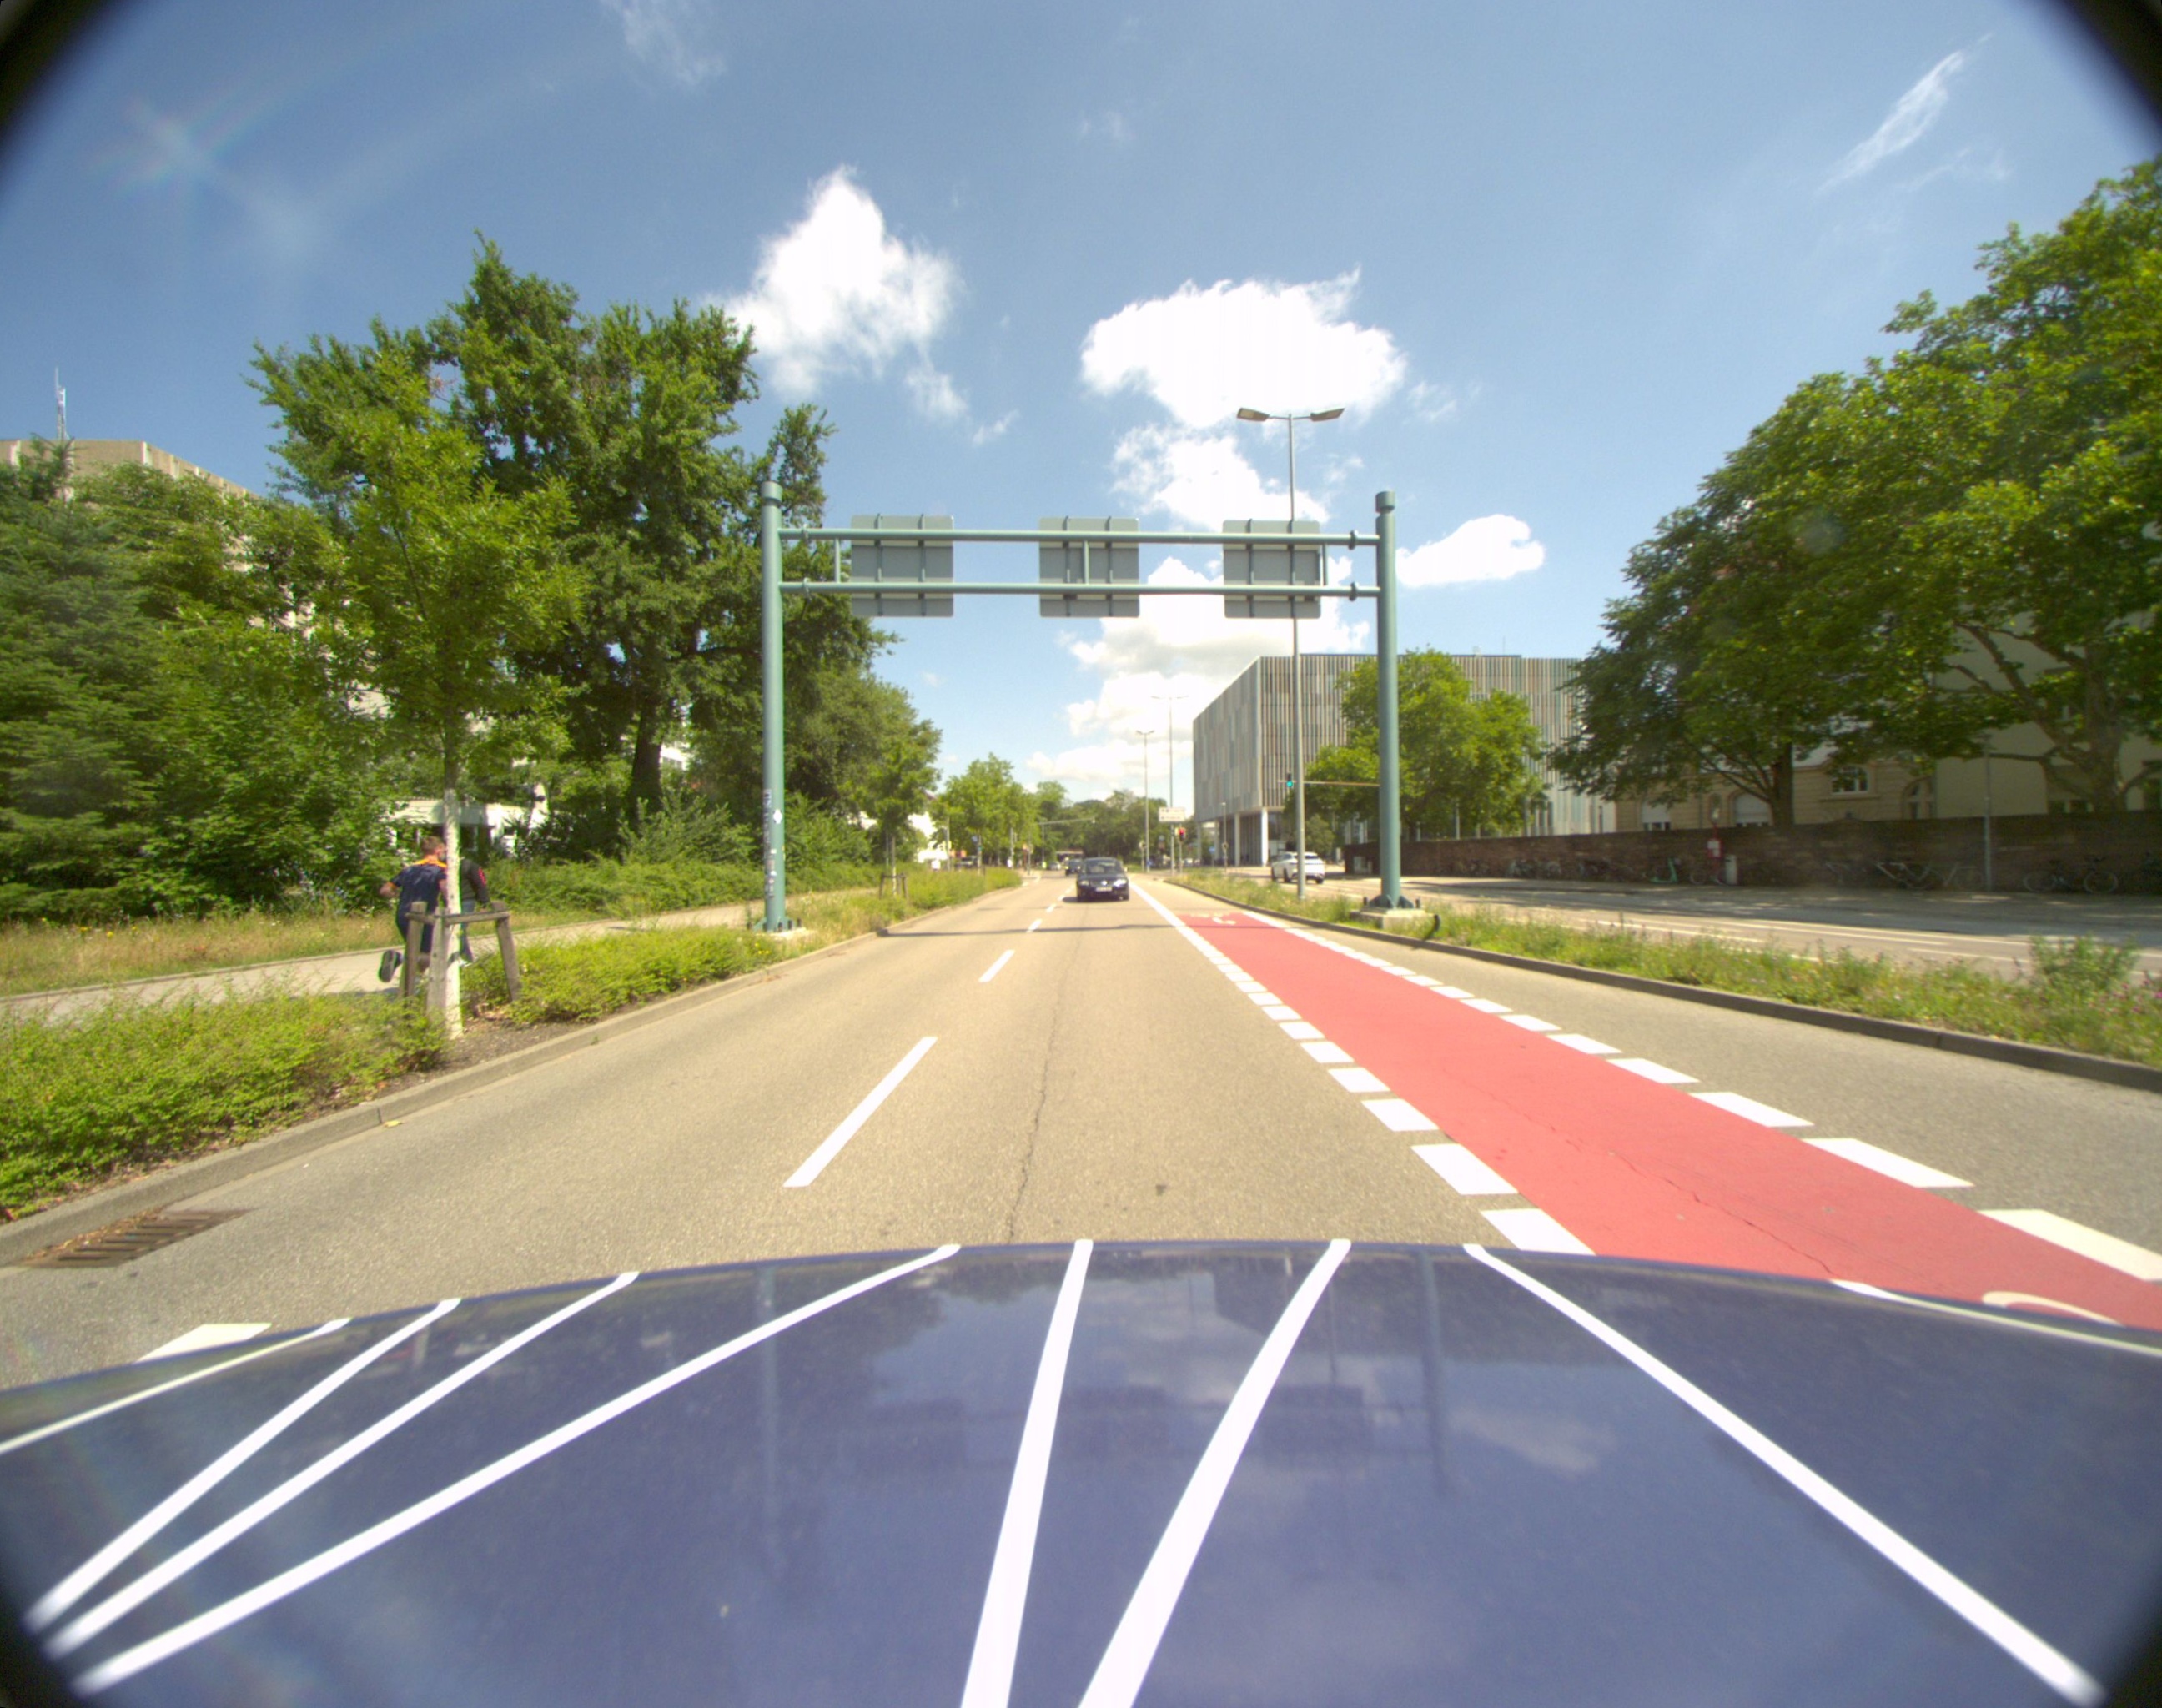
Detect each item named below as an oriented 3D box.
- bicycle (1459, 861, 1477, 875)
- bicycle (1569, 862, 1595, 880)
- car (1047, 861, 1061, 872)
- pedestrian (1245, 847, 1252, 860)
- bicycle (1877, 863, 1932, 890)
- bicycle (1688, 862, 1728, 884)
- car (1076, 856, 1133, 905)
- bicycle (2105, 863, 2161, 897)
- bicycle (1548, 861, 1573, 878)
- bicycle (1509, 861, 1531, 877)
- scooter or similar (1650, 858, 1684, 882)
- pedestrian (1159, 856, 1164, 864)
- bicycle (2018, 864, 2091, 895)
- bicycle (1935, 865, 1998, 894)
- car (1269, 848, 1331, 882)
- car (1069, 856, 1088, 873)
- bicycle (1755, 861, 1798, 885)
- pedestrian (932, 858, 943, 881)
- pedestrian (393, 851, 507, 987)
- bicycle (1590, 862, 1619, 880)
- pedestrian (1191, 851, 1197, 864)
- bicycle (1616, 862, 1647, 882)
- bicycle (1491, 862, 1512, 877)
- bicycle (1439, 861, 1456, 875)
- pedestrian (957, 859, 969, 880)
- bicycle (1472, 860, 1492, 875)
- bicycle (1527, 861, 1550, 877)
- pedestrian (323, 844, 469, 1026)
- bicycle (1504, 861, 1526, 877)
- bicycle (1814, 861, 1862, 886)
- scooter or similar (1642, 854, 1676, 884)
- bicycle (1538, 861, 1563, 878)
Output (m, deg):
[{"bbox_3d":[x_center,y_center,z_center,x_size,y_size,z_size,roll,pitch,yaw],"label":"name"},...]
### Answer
[{"bbox_3d":[22.798,0.830,44.758,0.265,0.826,1.235,-1,0,-11],"label":"bicycle"},{"bbox_3d":[23.856,0.793,36.203,0.265,0.826,1.235,-1,0,-11],"label":"bicycle"},{"bbox_3d":[-4.329,1.973,122.138,1.816,1.598,4.479,-3,0,1],"label":"car"},{"bbox_3d":[26.610,-0.041,120.802,0.864,2.002,0.995,-1,0,0],"label":"pedestrian"},{"bbox_3d":[26.009,0.692,24.022,0.265,0.826,1.235,-1,0,-11],"label":"bicycle"},{"bbox_3d":[24.817,0.752,30.085,0.265,0.826,1.233,-1,0,-21],"label":"bicycle"},{"bbox_3d":[0.771,0.855,26.247,1.723,1.472,4.594,-3,0,1],"label":"car"},{"bbox_3d":[27.126,0.653,19.351,0.265,0.826,1.234,-1,0,-13],"label":"bicycle"},{"bbox_3d":[23.658,0.762,37.496,0.265,0.826,1.235,-1,0,-11],"label":"bicycle"},{"bbox_3d":[23.358,0.804,40.413,0.265,0.826,1.234,-1,0,-11],"label":"bicycle"},{"bbox_3d":[24.573,0.662,31.855,0.266,1.014,1.140,-1,0,-22],"label":"scooter or similar"},{"bbox_3d":[16.011,1.168,151.332,0.864,1.647,0.995,-1,0,-1],"label":"pedestrian"},{"bbox_3d":[26.575,0.681,20.757,0.265,0.826,1.234,-1,0,-13],"label":"bicycle"},{"bbox_3d":[26.241,0.733,22.534,0.265,0.826,1.235,-1,0,-11],"label":"bicycle"},{"bbox_3d":[11.581,0.561,40.508,1.999,1.701,4.512,-1,0,-1],"label":"car"},{"bbox_3d":[-0.229,1.017,75.689,1.816,1.598,4.479,-3,0,1],"label":"car"},{"bbox_3d":[25.187,0.681,27.525,0.265,0.826,1.235,-1,0,-11],"label":"bicycle"},{"bbox_3d":[-12.591,1.342,66.778,0.846,2.026,0.900,-1,0,-18],"label":"pedestrian"},{"bbox_3d":[-8.166,0.811,9.856,0.760,1.674,0.817,-1,0,12],"label":"pedestrian"},{"bbox_3d":[24.059,0.776,34.932,0.265,0.826,1.235,-1,0,-11],"label":"bicycle"},{"bbox_3d":[17.436,0.543,117.176,0.864,2.002,0.995,-1,0,-1],"label":"pedestrian"},{"bbox_3d":[24.150,0.784,33.356,0.265,0.826,1.235,-1,0,-11],"label":"bicycle"},{"bbox_3d":[23.152,0.832,41.808,0.265,0.826,1.234,-1,0,-11],"label":"bicycle"},{"bbox_3d":[22.489,0.858,46.654,0.265,0.826,1.235,-1,0,-11],"label":"bicycle"},{"bbox_3d":[-9.129,1.164,58.811,0.767,1.601,0.765,-1,0,-4],"label":"pedestrian"},{"bbox_3d":[22.931,0.767,43.436,0.265,0.826,1.234,-1,0,-11],"label":"bicycle"},{"bbox_3d":[23.475,0.768,39.004,0.265,0.826,1.235,-1,0,-11],"label":"bicycle"},{"bbox_3d":[-6.958,0.782,7.763,0.639,1.754,0.887,-1,0,7],"label":"pedestrian"},{"bbox_3d":[22.902,0.788,40.099,0.265,0.826,1.234,-1,0,-11],"label":"bicycle"},{"bbox_3d":[25.710,0.641,25.817,0.265,0.826,1.235,-1,0,-11],"label":"bicycle"},{"bbox_3d":[23.797,0.608,31.276,0.265,1.182,1.234,-1,0,-11],"label":"scooter or similar"},{"bbox_3d":[23.184,0.763,37.531,0.265,0.826,1.234,-1,0,-11],"label":"bicycle"}]
